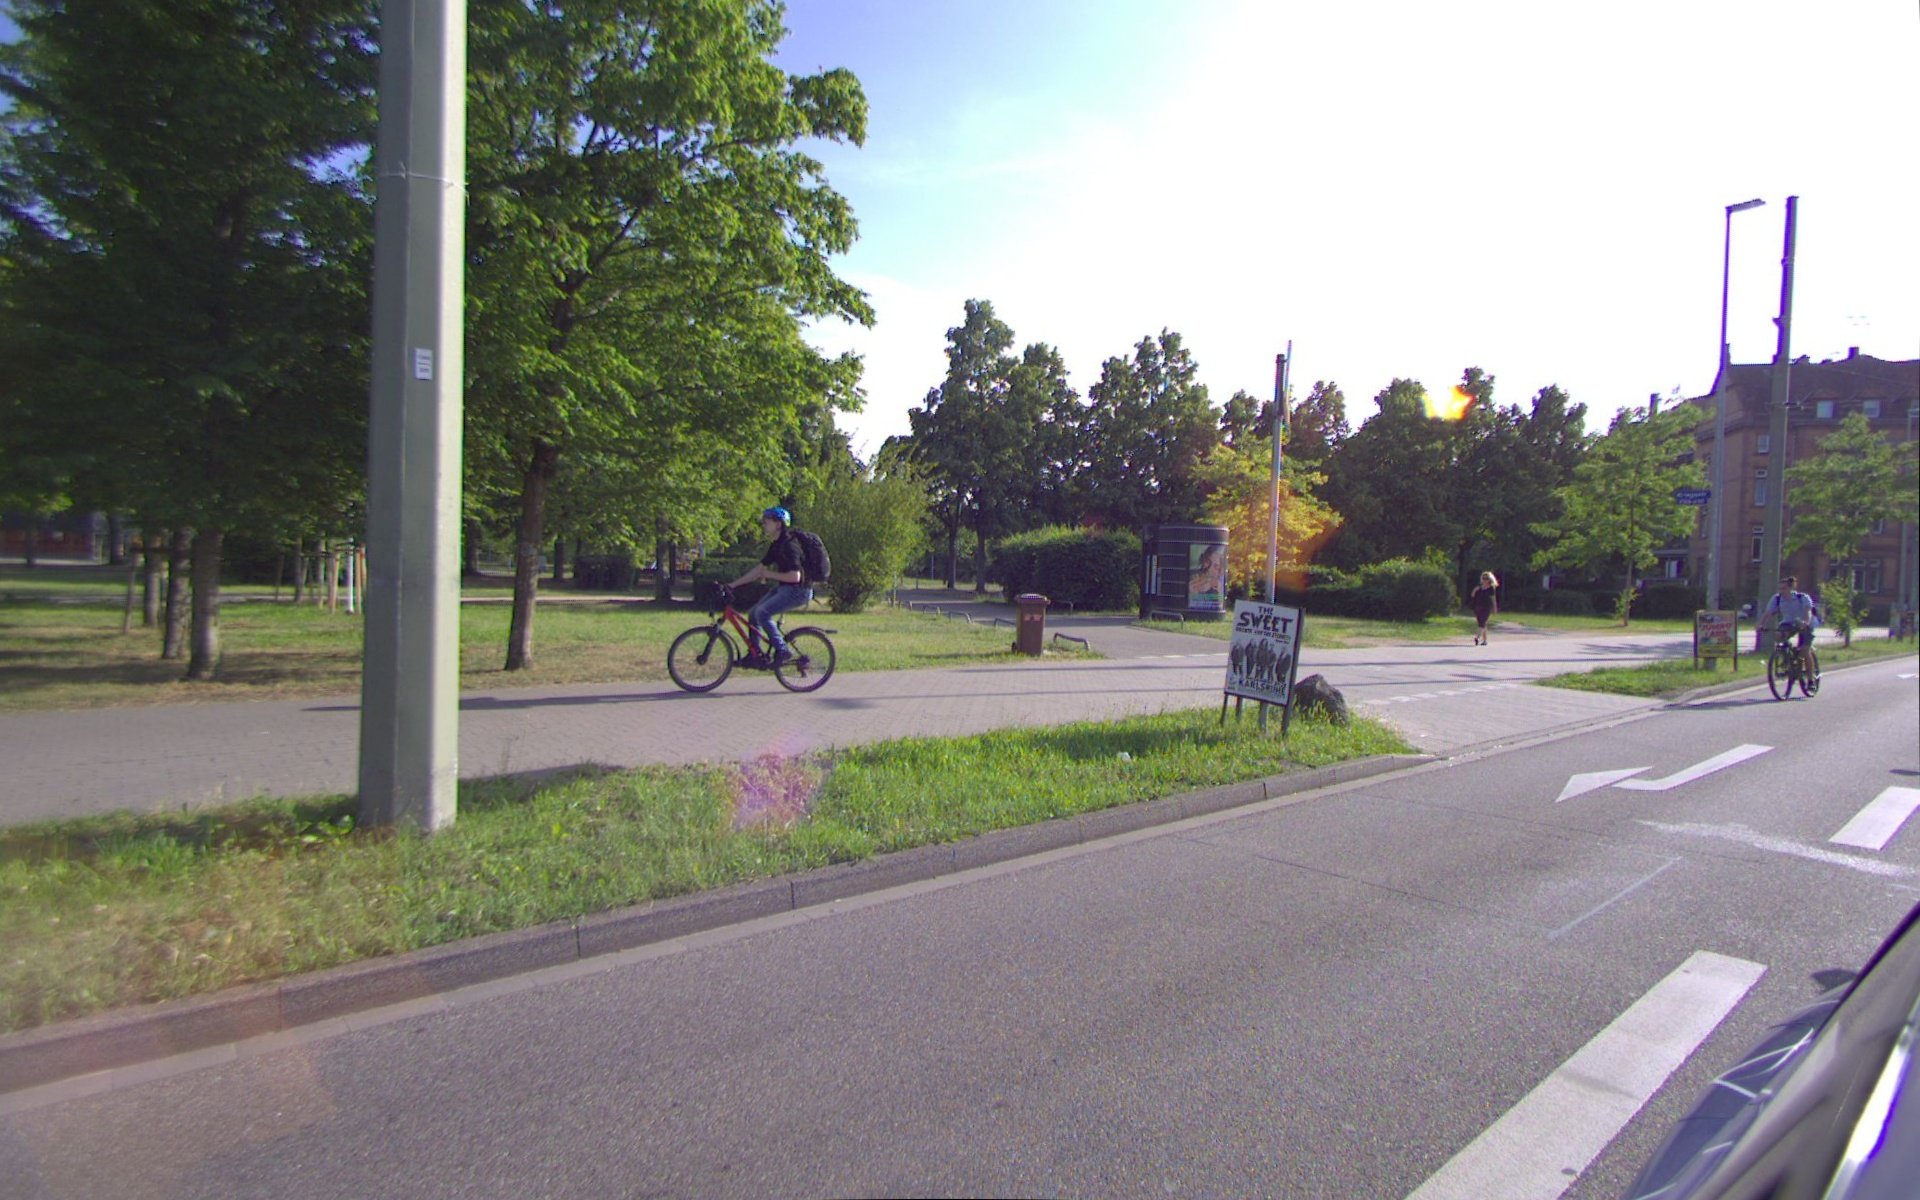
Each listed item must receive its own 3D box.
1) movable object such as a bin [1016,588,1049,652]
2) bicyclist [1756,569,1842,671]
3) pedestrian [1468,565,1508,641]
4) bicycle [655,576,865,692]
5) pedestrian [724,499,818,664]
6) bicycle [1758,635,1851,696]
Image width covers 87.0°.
[{"bbox_3d":[1.100,0.301,15.419,0.447,0.929,0.605,2,2,1],"label":"movable object such as a bin"},{"bbox_3d":[12.679,0.288,15.292,1.090,1.472,0.690,1,2,-35],"label":"bicyclist"},{"bbox_3d":[12.076,0.074,23.136,0.607,1.706,0.621,1,0,-40],"label":"pedestrian"},{"bbox_3d":[-1.952,0.305,9.870,1.939,1.059,0.653,0,0,-18],"label":"bicycle"},{"bbox_3d":[-1.850,-0.175,9.858,0.827,1.540,0.639,0,0,-18],"label":"pedestrian"},{"bbox_3d":[12.751,0.968,15.266,2.002,0.803,0.568,1,2,-36],"label":"bicycle"}]
